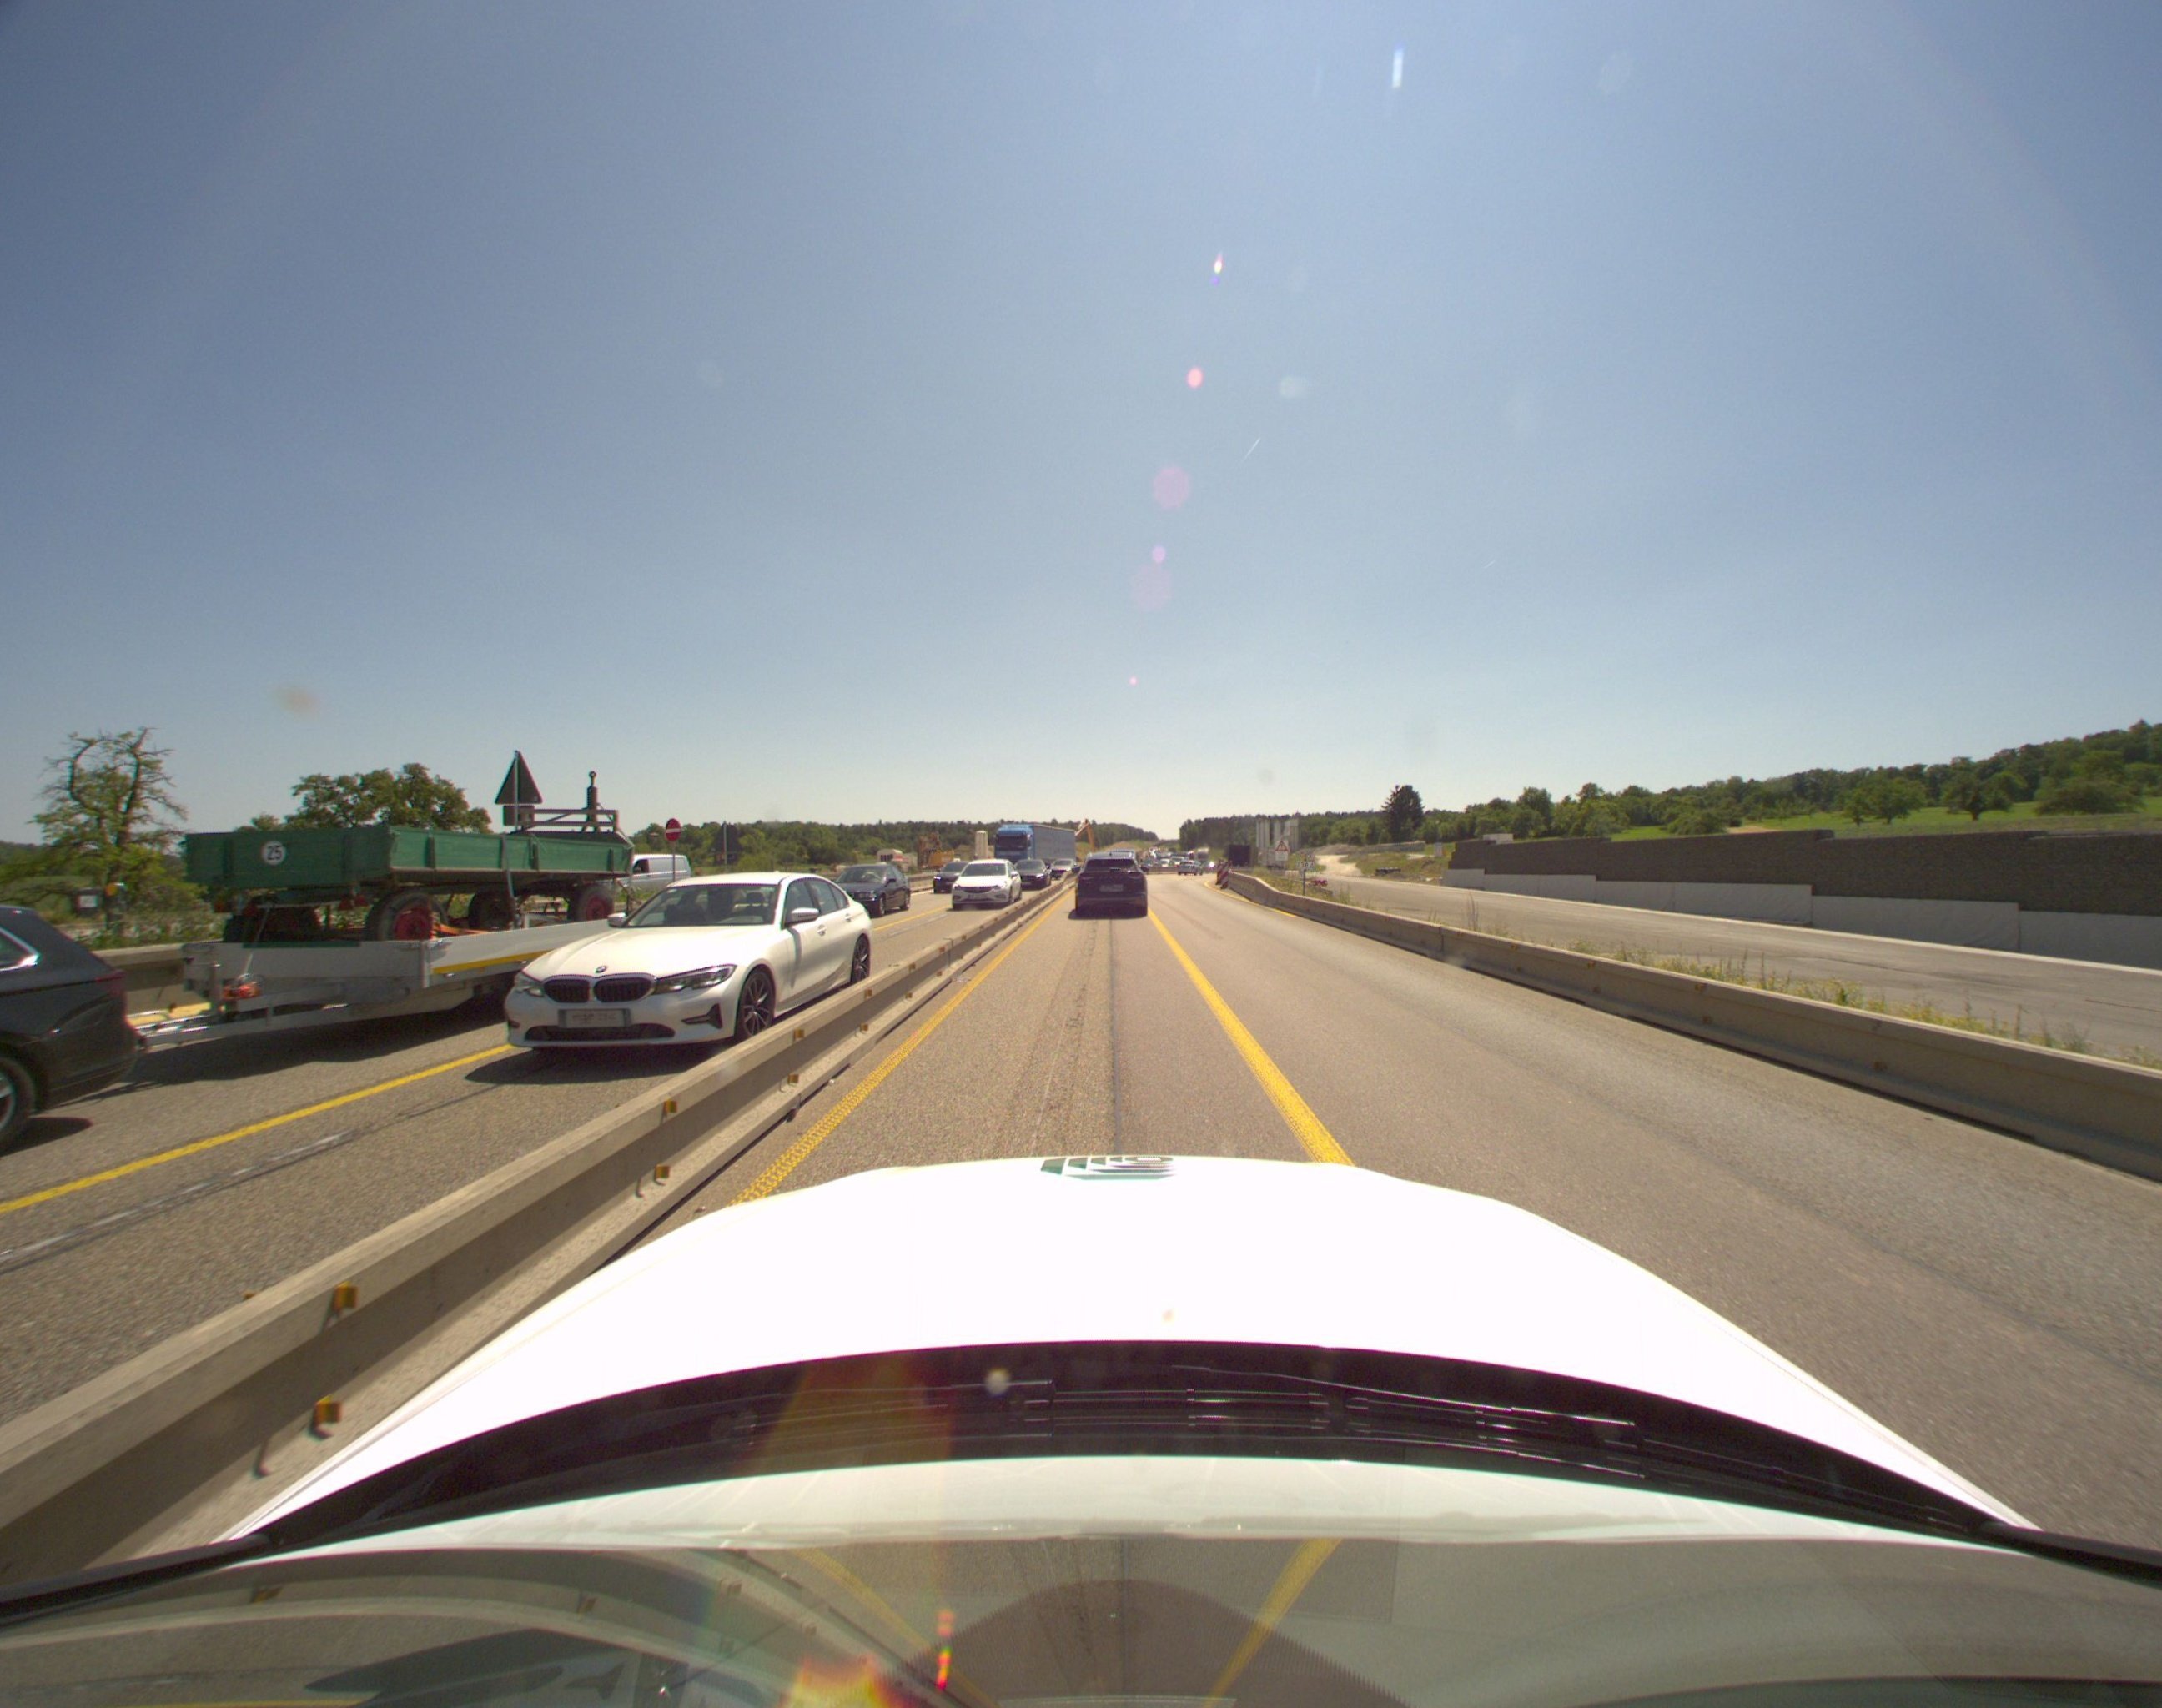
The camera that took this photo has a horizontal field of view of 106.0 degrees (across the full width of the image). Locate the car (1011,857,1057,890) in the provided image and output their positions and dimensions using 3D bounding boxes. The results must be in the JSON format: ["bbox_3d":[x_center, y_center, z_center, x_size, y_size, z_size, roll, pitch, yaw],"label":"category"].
[{"bbox_3d":[-2.230,0.920,39.796,1.767,1.427,4.772,-2,0,2],"label":"car"}]

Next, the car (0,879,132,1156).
[{"bbox_3d":[-6.659,0.924,2.767,1.681,1.452,4.337,-1,1,1],"label":"car"}]

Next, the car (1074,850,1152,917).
[{"bbox_3d":[0.862,0.707,21.552,1.835,1.582,4.003,-1,0,3],"label":"car"}]

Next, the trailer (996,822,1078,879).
[{"bbox_3d":[-3.295,-0.288,67.018,2.894,4.128,13.965,-1,0,13],"label":"trailer"}]

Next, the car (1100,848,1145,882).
[{"bbox_3d":[2.437,0.592,46.732,1.981,1.844,4.012,1,0,11],"label":"car"}]

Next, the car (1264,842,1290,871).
[{"bbox_3d":[30.840,0.421,127.698,3.411,4.101,9.234,4,0,15],"label":"car"}]

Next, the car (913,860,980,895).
[{"bbox_3d":[-6.130,1.040,37.734,1.985,1.399,4.585,-2,0,4],"label":"car"}]

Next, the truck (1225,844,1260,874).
[{"bbox_3d":[16.962,0.517,85.197,2.650,2.945,5.650,-1,1,21],"label":"truck"}]

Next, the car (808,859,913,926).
[{"bbox_3d":[-6.091,0.994,22.998,1.760,1.597,4.002,-1,1,1],"label":"car"}]

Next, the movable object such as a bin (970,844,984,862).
[{"bbox_3d":[-19.824,-0.197,154.983,2.420,3.126,5.466,4,0,-8],"label":"movable object such as a bin"}]

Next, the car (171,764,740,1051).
[{"bbox_3d":[-6.611,0.429,10.072,1.907,2.399,6.454,-1,0,1],"label":"car"}]

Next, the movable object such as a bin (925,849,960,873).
[{"bbox_3d":[-16.873,0.814,99.201,2.893,2.727,3.324,2,0,-38],"label":"movable object such as a bin"}]

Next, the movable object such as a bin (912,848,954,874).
[{"bbox_3d":[-19.603,0.924,108.323,3.773,3.256,5.570,2,0,8],"label":"movable object such as a bin"}]

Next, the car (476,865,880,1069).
[{"bbox_3d":[-3.504,0.865,8.146,1.810,1.376,4.249,-1,0,1],"label":"car"}]

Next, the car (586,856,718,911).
[{"bbox_3d":[-17.427,1.139,33.451,1.905,1.941,5.110,-1,1,11],"label":"car"}]

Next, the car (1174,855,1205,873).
[{"bbox_3d":[10.460,0.920,78.396,2.029,1.526,5.090,0,1,18],"label":"car"}]

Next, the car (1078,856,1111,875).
[{"bbox_3d":[1.191,0.934,69.872,2.003,1.444,4.603,-1,1,12],"label":"car"}]

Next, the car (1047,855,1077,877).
[{"bbox_3d":[-1.302,0.824,56.859,1.581,1.441,4.131,-2,0,6],"label":"car"}]

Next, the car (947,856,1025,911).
[{"bbox_3d":[-2.920,0.875,25.908,1.727,1.478,4.522,-3,0,2],"label":"car"}]

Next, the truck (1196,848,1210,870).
[{"bbox_3d":[25.006,1.022,166.894,2.756,4.260,6.211,1,0,7],"label":"truck"}]

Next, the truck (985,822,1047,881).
[{"bbox_3d":[-4.700,-0.199,60.331,2.895,4.129,6.159,-1,0,12],"label":"truck"}]
